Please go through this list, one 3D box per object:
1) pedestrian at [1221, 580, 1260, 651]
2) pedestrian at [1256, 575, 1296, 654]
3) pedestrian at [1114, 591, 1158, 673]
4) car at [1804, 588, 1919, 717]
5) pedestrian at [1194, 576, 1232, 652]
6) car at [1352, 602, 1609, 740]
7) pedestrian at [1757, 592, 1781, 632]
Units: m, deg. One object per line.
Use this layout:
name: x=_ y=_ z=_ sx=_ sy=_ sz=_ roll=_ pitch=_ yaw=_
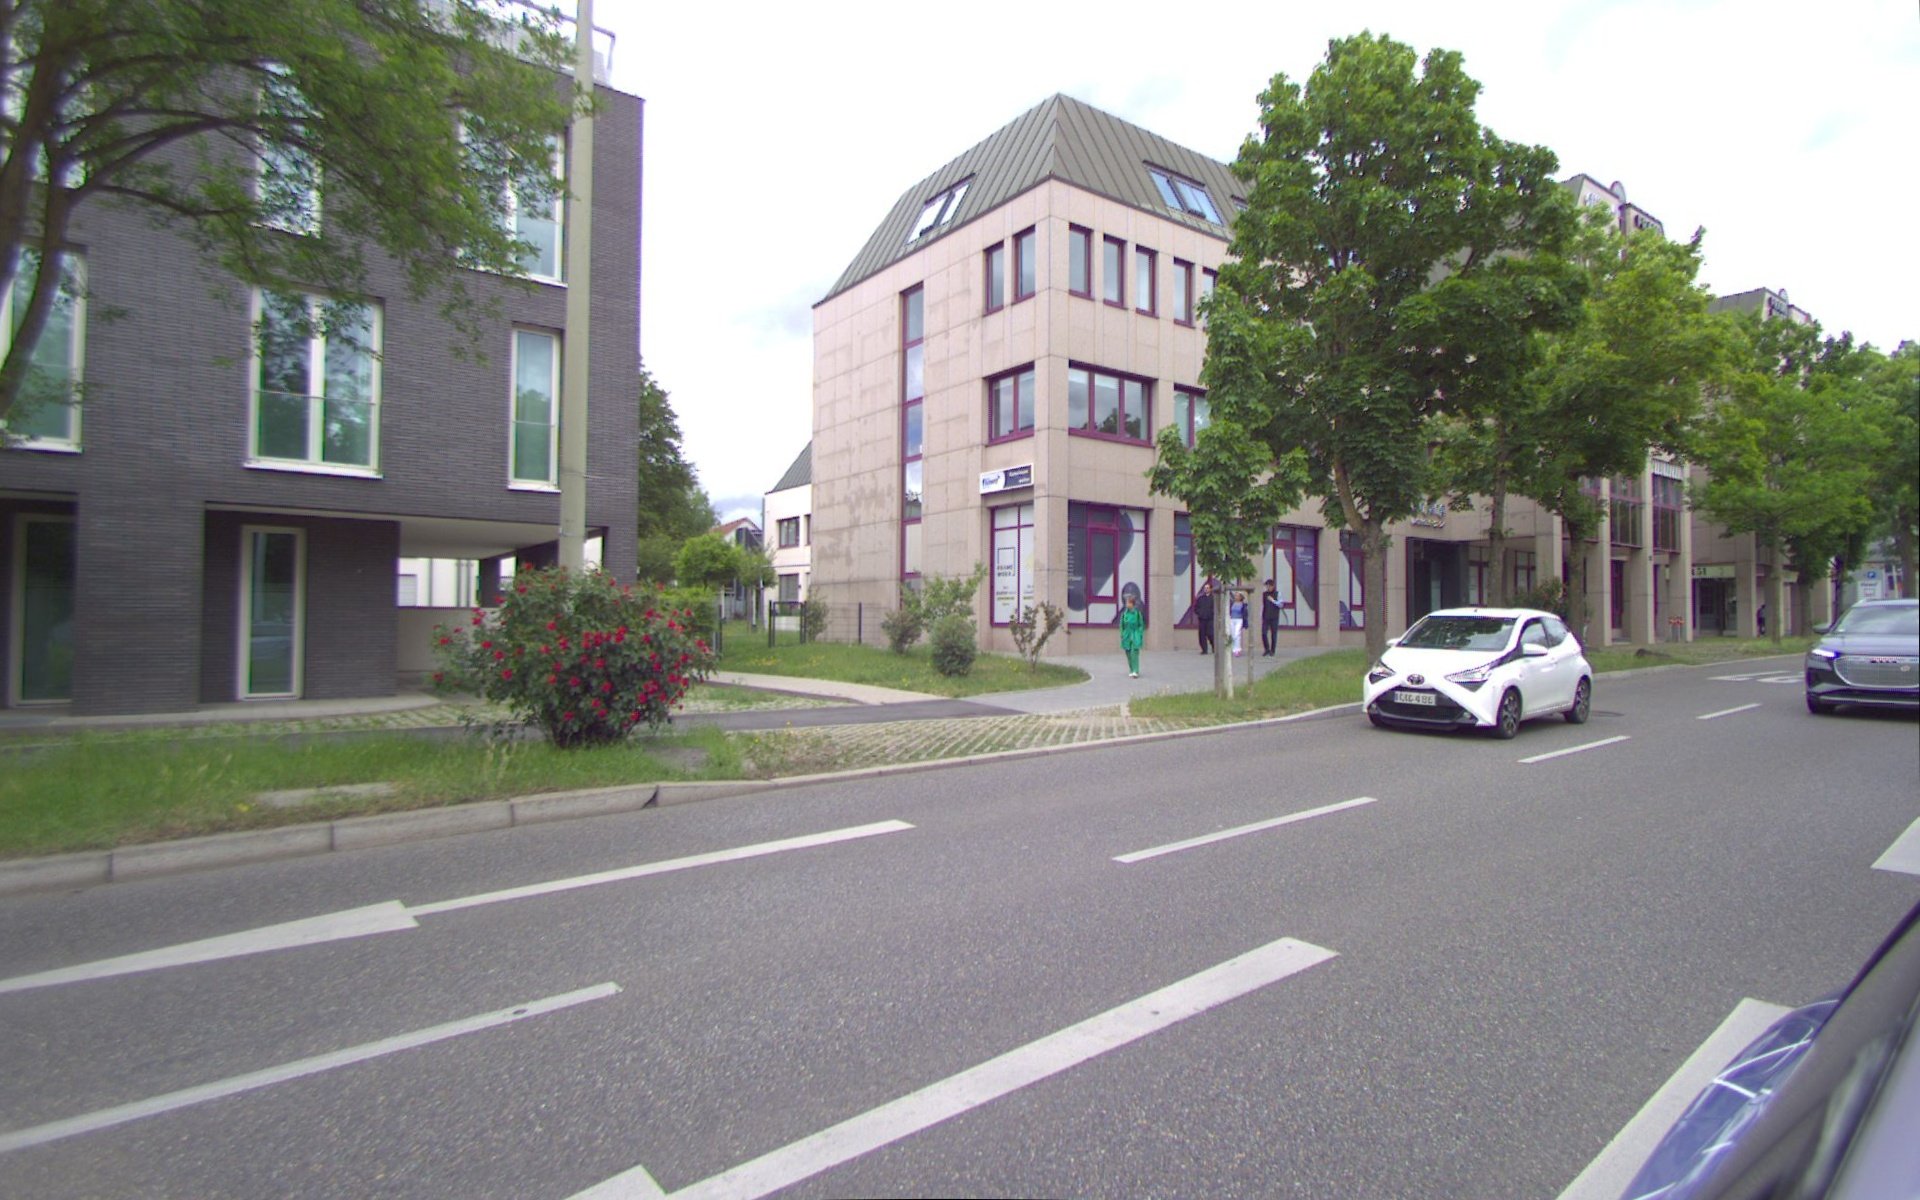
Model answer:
pedestrian: x=6.758 y=0.364 z=24.423 sx=0.665 sy=1.668 sz=0.642 roll=0 pitch=-1 yaw=-41
pedestrian: x=7.432 y=0.339 z=23.800 sx=0.665 sy=1.828 sz=0.642 roll=0 pitch=-1 yaw=-41
pedestrian: x=3.406 y=0.603 z=19.597 sx=0.665 sy=1.537 sz=0.496 roll=0 pitch=2 yaw=-41
car: x=13.618 y=0.660 z=14.218 sx=4.235 sy=1.616 sz=1.896 roll=0 pitch=0 yaw=-39
pedestrian: x=6.219 y=0.335 z=24.881 sx=0.665 sy=1.828 sz=0.642 roll=0 pitch=-1 yaw=-41
car: x=6.520 y=0.757 z=12.553 sx=3.473 sy=1.443 sz=1.656 roll=0 pitch=1 yaw=-41
pedestrian: x=38.244 y=0.550 z=47.862 sx=0.932 sy=1.845 sz=0.718 roll=0 pitch=0 yaw=-41
